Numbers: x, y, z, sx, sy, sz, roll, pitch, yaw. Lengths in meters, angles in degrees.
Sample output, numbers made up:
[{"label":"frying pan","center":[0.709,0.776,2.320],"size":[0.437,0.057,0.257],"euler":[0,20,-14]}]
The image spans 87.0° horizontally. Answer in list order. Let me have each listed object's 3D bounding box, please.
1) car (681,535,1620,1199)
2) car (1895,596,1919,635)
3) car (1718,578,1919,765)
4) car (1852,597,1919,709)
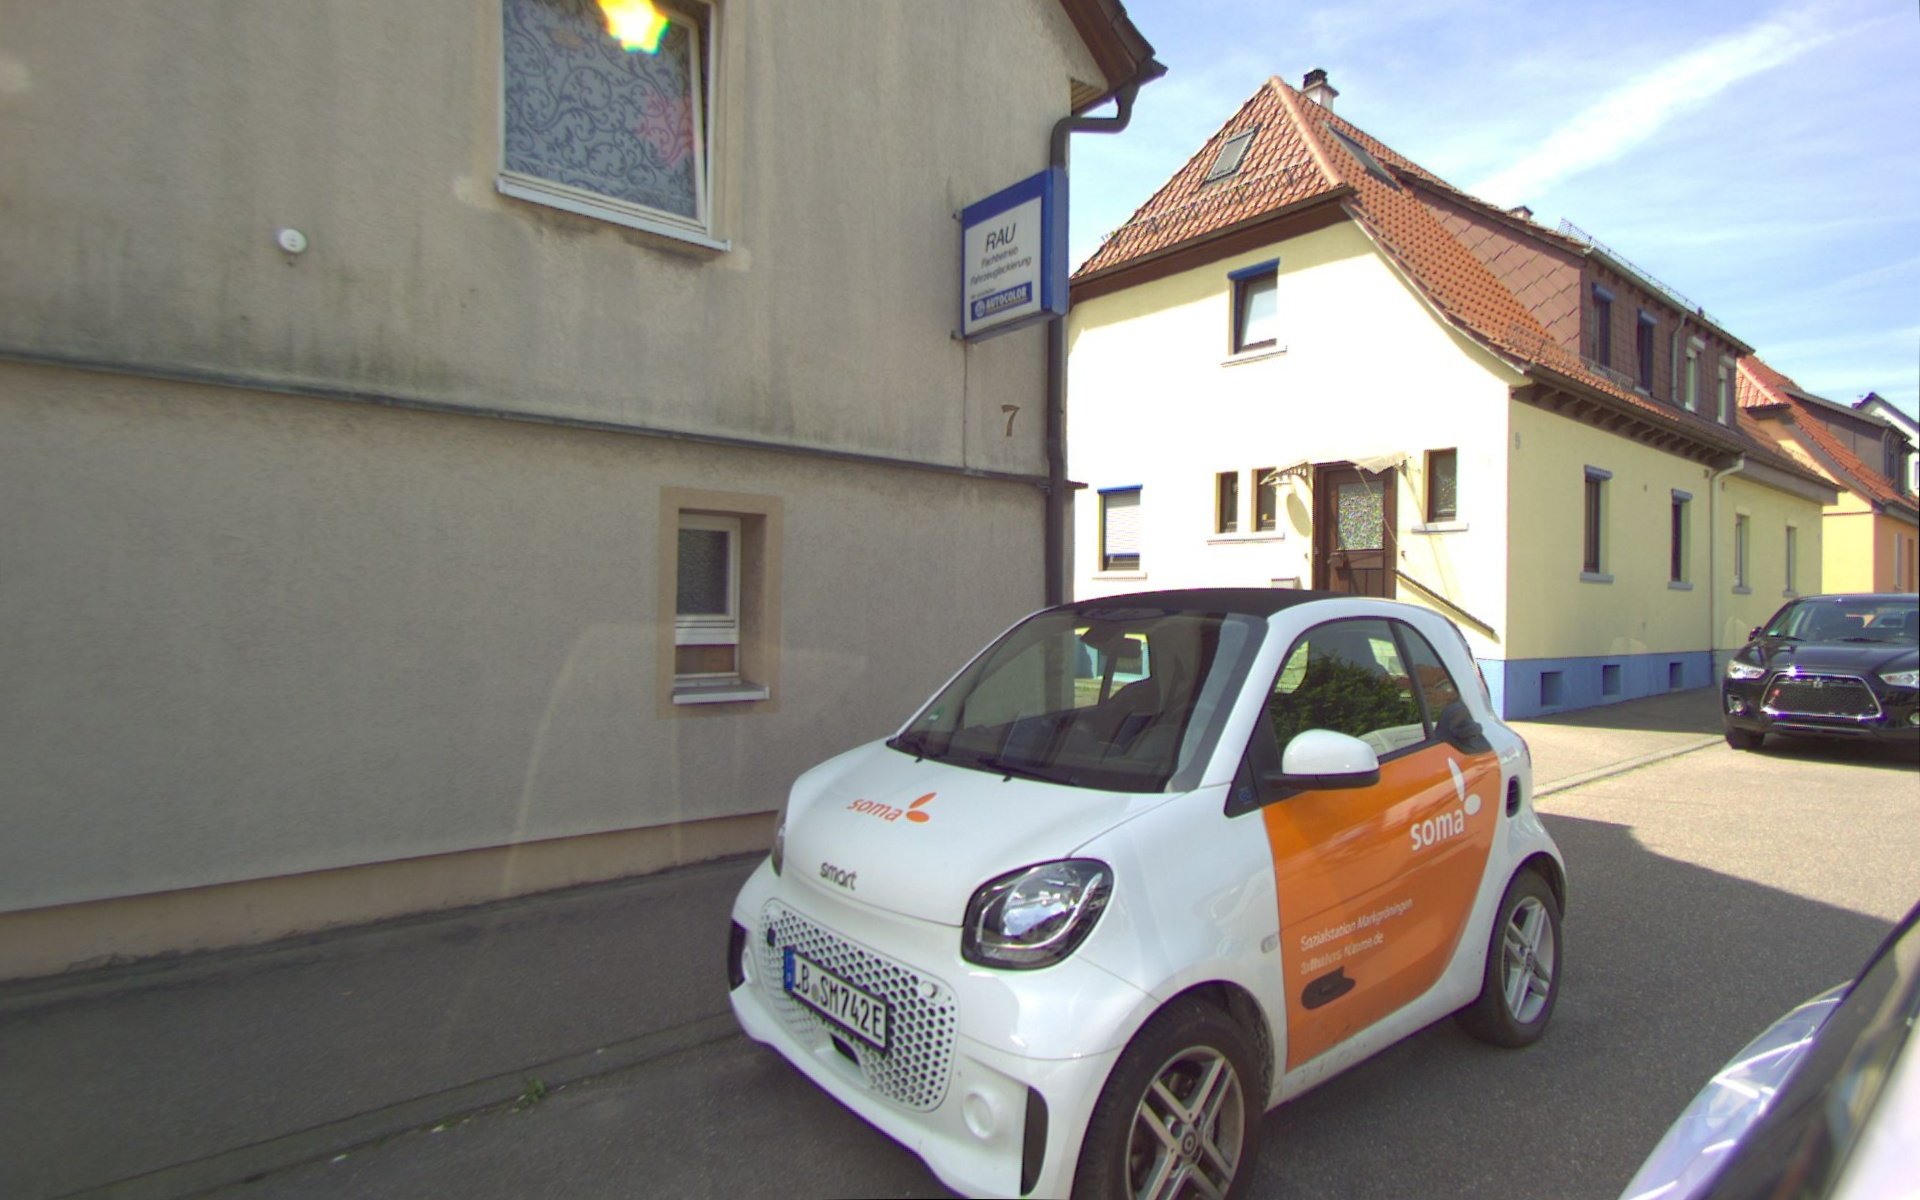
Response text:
[{"label":"car","center":[0.797,0.665,3.493],"size":[2.986,1.578,1.677],"euler":[0,0,-40]},{"label":"car","center":[42.928,0.672,43.005],"size":[1.811,1.674,4.311],"euler":[0,-1,-30]},{"label":"car","center":[9.587,0.622,10.508],"size":[4.176,1.620,1.732],"euler":[0,-1,-39]},{"label":"car","center":[13.854,0.680,14.092],"size":[3.687,1.449,1.614],"euler":[0,-1,-40]}]
